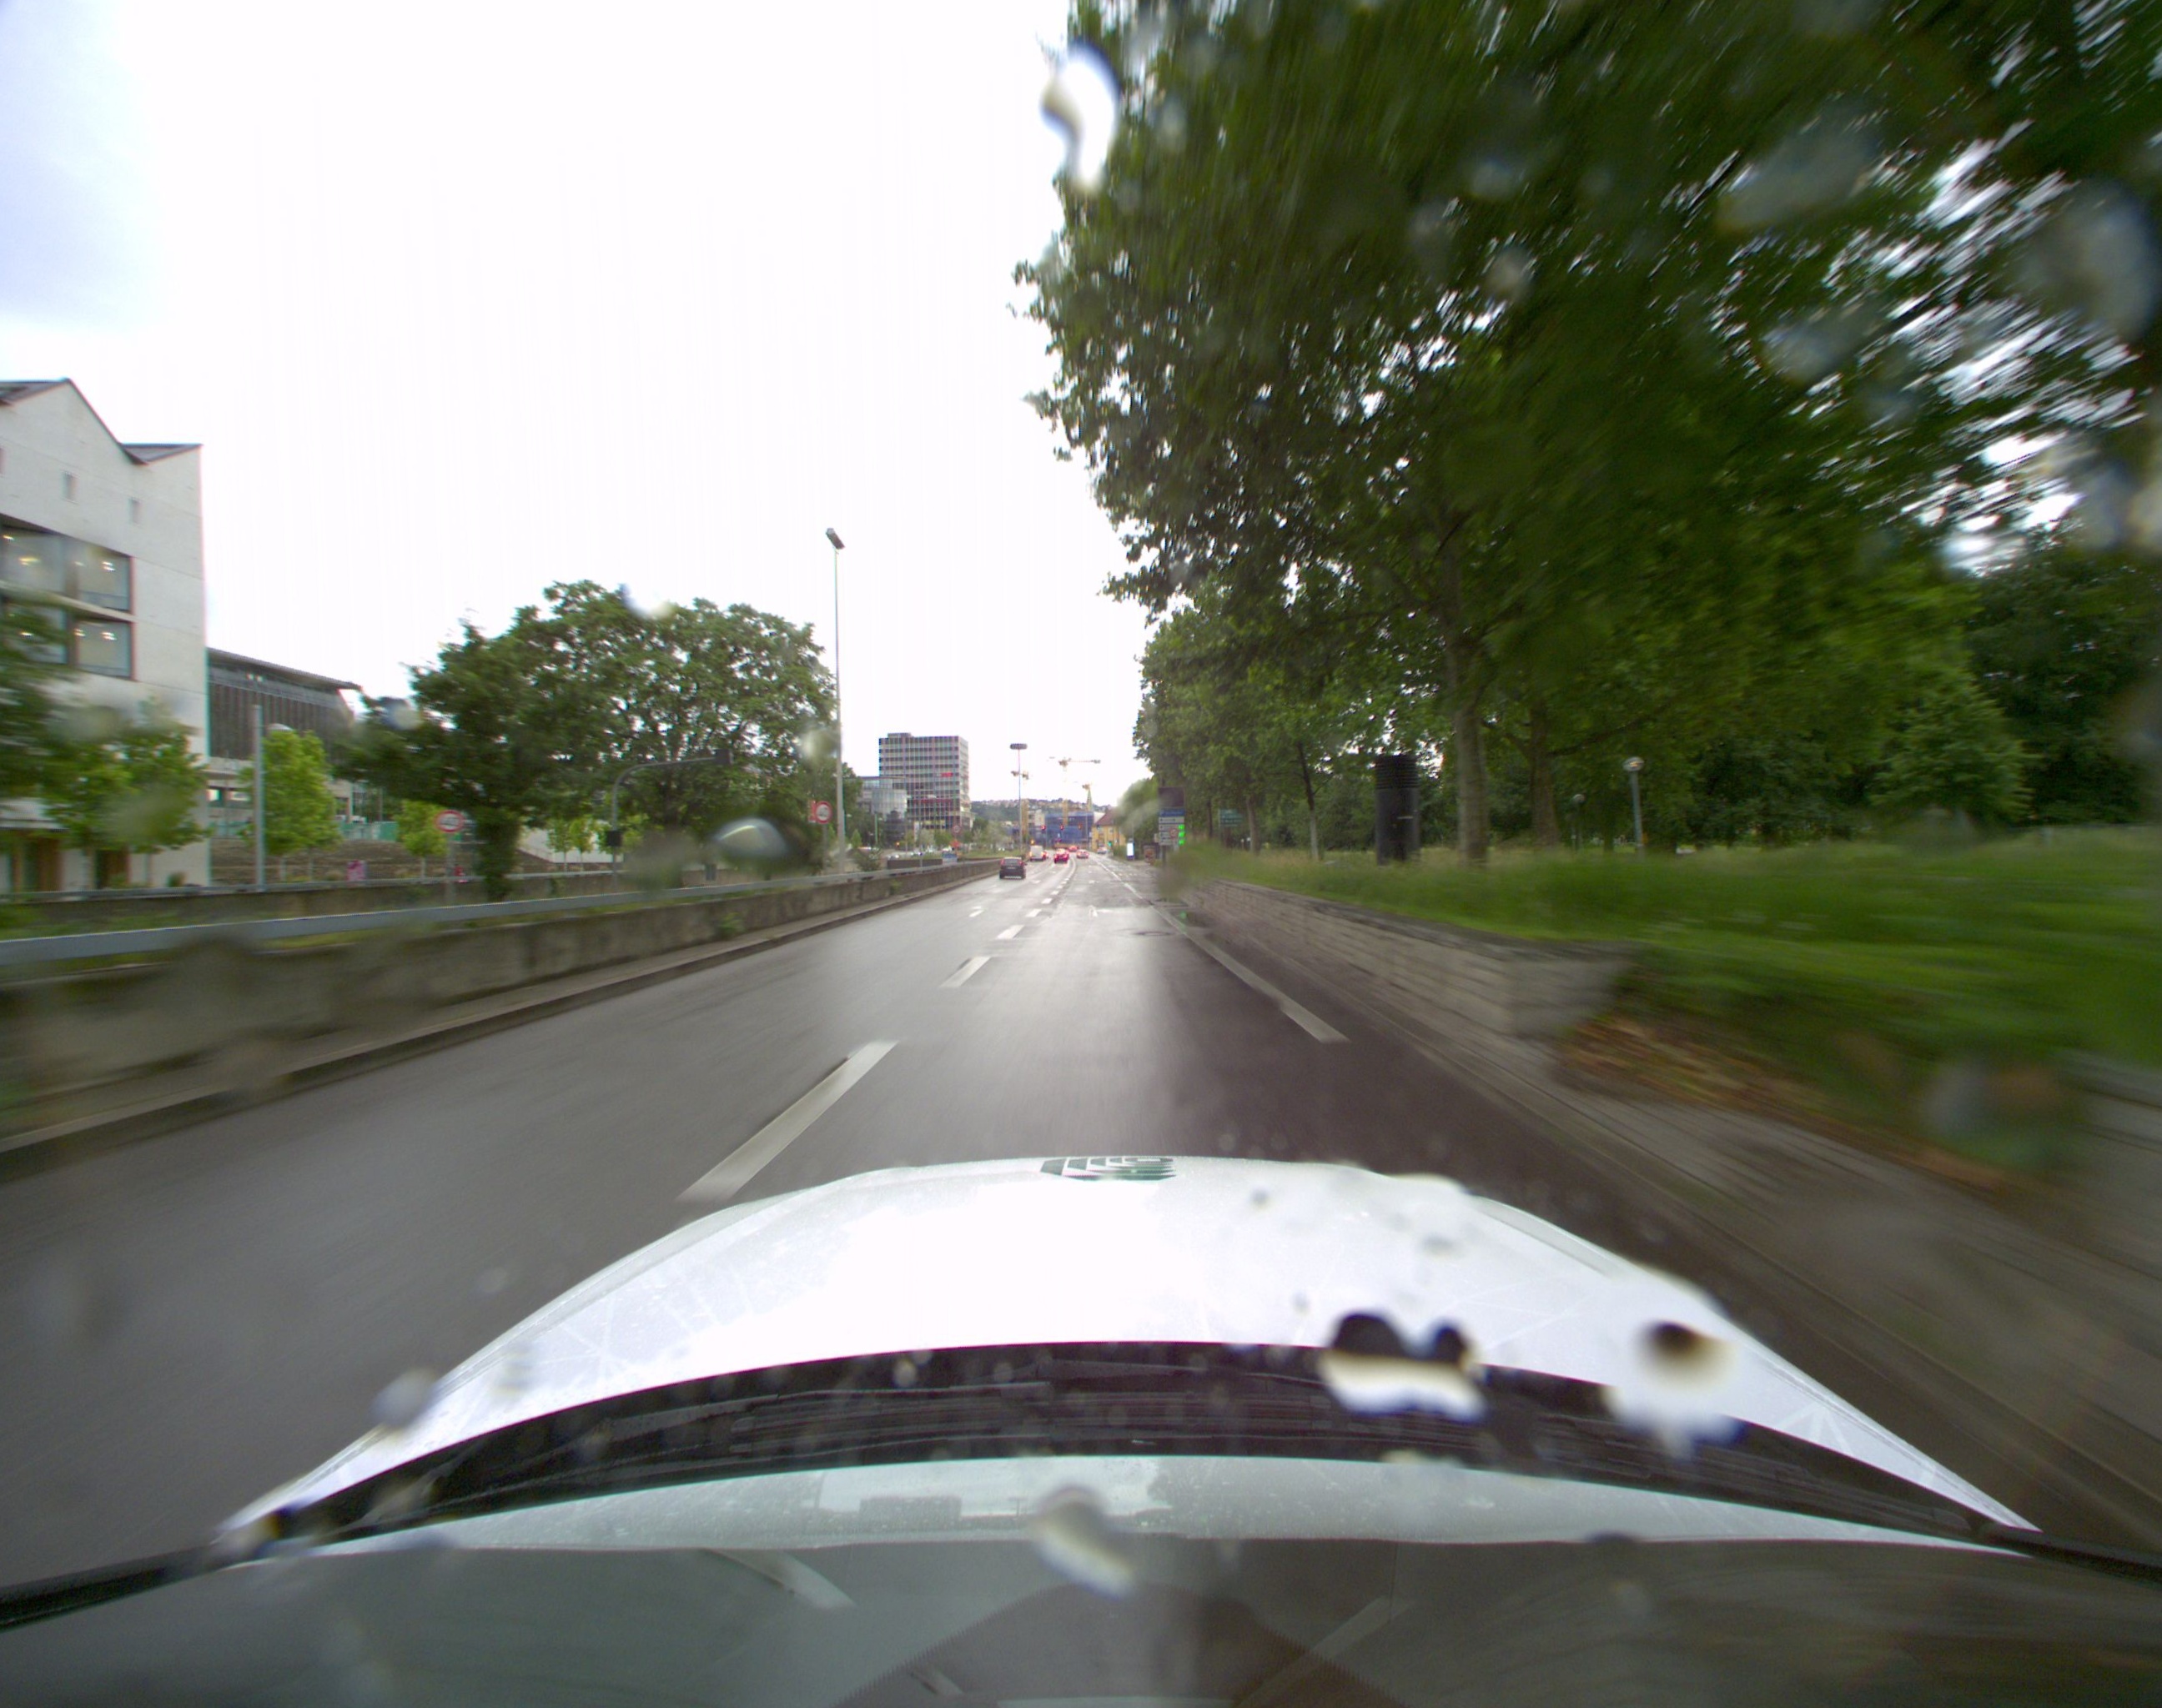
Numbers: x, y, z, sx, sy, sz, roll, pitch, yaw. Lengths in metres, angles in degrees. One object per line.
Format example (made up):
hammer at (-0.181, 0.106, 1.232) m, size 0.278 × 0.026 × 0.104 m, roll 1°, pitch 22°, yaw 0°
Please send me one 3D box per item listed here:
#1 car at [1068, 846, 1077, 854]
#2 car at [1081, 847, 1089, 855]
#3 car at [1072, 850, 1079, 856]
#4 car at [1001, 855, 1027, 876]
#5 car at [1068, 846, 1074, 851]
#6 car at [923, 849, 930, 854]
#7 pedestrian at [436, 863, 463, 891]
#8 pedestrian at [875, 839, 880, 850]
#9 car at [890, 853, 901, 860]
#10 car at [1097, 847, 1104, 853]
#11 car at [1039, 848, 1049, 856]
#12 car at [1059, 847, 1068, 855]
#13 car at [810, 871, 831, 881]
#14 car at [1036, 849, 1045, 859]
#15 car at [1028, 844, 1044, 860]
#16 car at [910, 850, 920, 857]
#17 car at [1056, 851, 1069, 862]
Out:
car at (-2.125, -1.000, 210.138) m, size 2.153 × 1.879 × 3.772 m, roll 0°, pitch -1°, yaw 2°
car at (0.722, -0.471, 142.511) m, size 1.439 × 1.359 × 2.413 m, roll 0°, pitch -1°, yaw 2°
car at (-0.976, -0.191, 148.959) m, size 1.072 × 0.990 × 1.972 m, roll 0°, pitch -1°, yaw 2°
car at (-4.528, 0.757, 55.511) m, size 1.538 × 1.415 × 3.899 m, roll 0°, pitch 0°, yaw -1°
car at (-2.674, -1.586, 222.396) m, size 1.473 × 1.360 × 3.137 m, roll 0°, pitch -1°, yaw 3°
car at (-39.245, -0.699, 207.212) m, size 1.405 × 1.255 × 3.163 m, roll 0°, pitch -1°, yaw -3°
pedestrian at (-41.796, 1.525, 53.919) m, size 1.083 × 1.866 × 0.828 m, roll 0°, pitch -1°, yaw -3°
pedestrian at (-40.588, -1.915, 162.188) m, size 0.773 × 2.090 × 0.718 m, roll -4°, pitch 6°, yaw -36°
car at (-34.901, 0.499, 153.170) m, size 1.339 × 1.352 × 2.931 m, roll 0°, pitch -1°, yaw 1°
car at (4.385, -0.891, 183.964) m, size 1.630 × 1.174 × 3.267 m, roll 0°, pitch -1°, yaw 2°
car at (-6.379, -0.339, 140.810) m, size 1.547 × 1.260 × 2.579 m, roll 0°, pitch -1°, yaw -1°
car at (-2.988, -0.490, 140.963) m, size 1.489 × 1.369 × 3.031 m, roll 0°, pitch -1°, yaw -1°
car at (-29.606, 2.466, 92.517) m, size 1.483 × 1.129 × 3.049 m, roll 0°, pitch -1°, yaw -2°
car at (-6.593, -0.010, 131.886) m, size 1.461 × 1.706 × 3.137 m, roll 0°, pitch -1°, yaw -3°
car at (-6.832, -0.248, 124.758) m, size 2.285 × 2.314 × 5.004 m, roll 0°, pitch -1°, yaw -1°
car at (-35.662, -0.103, 174.748) m, size 1.460 × 1.440 × 2.961 m, roll 0°, pitch -1°, yaw -1°
car at (-2.602, 0.332, 114.402) m, size 1.749 × 1.471 × 4.219 m, roll 0°, pitch 1°, yaw -2°
